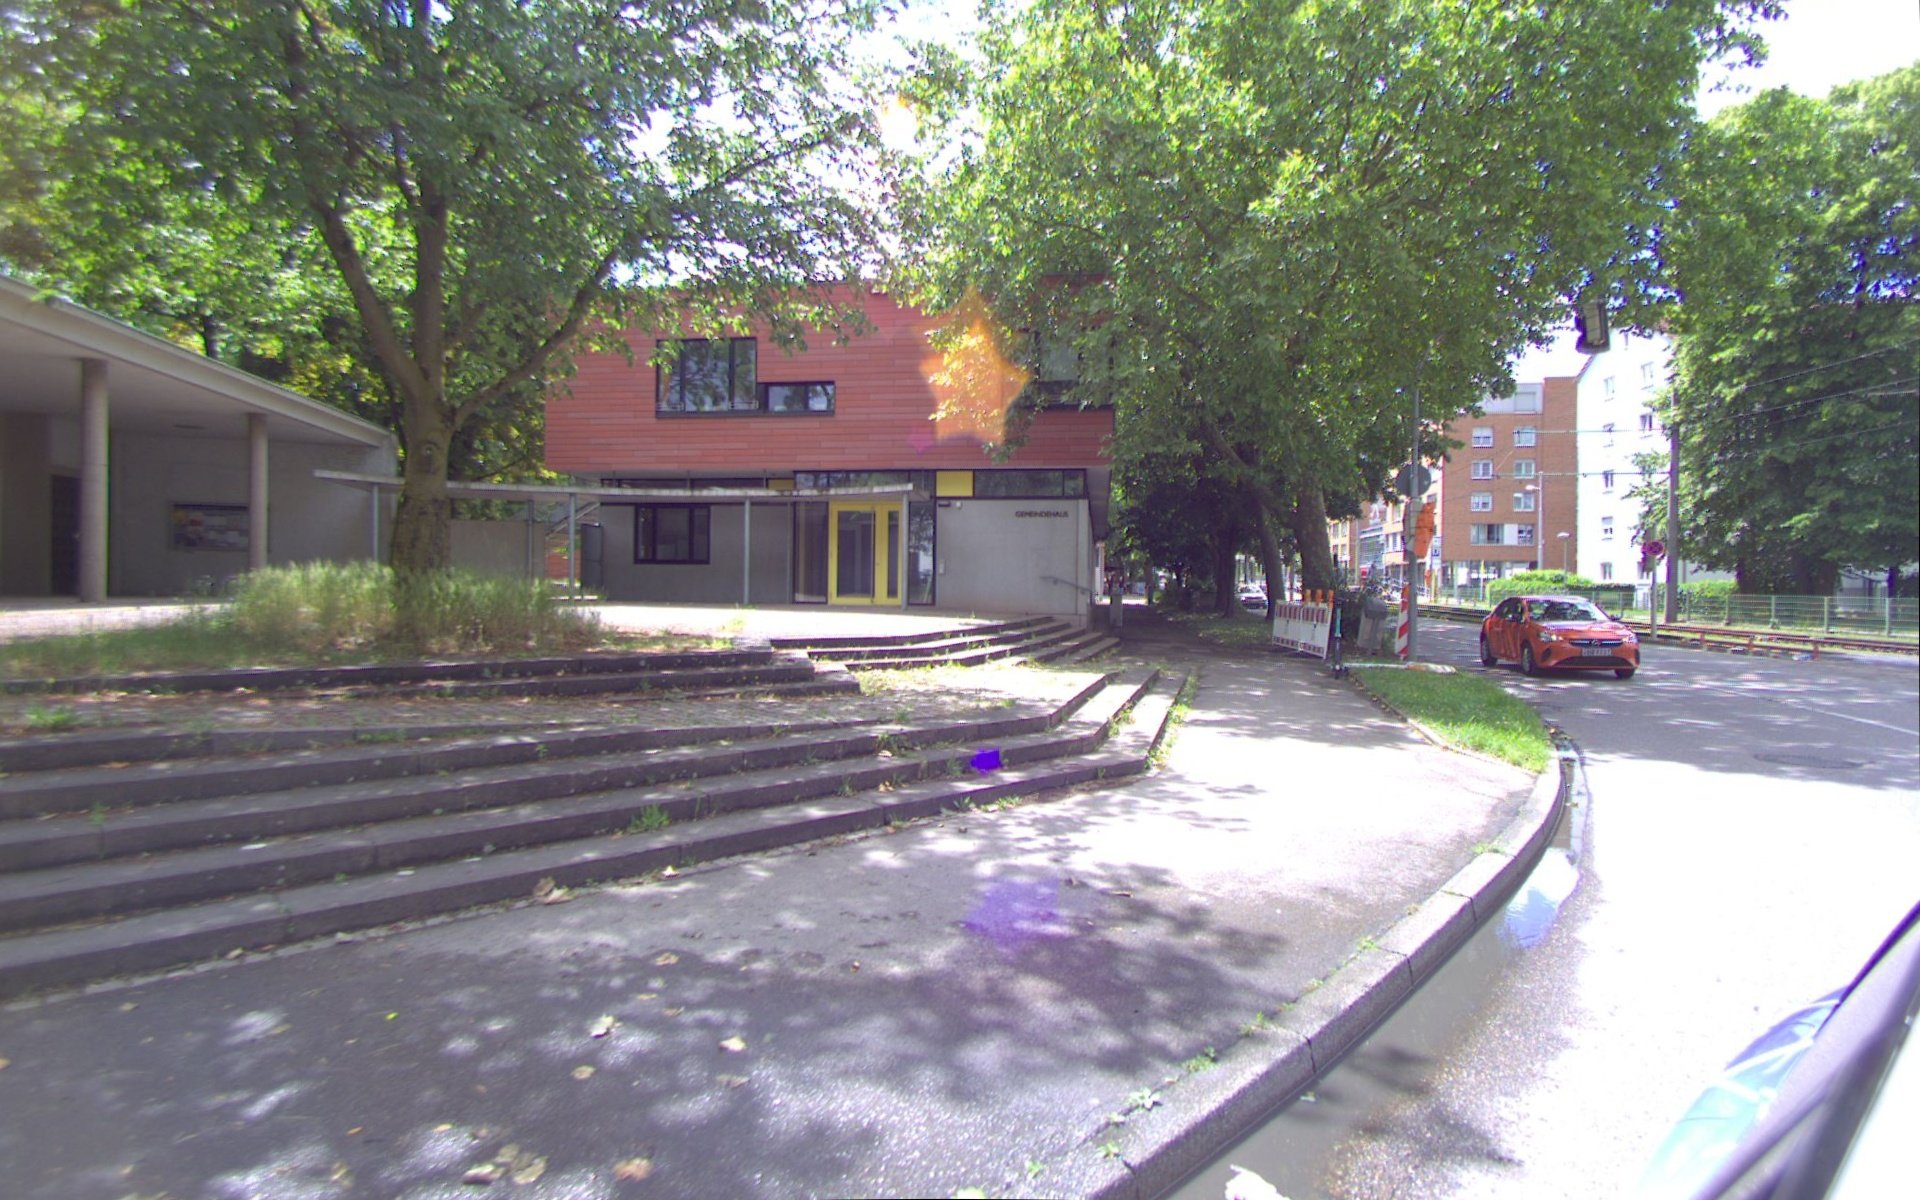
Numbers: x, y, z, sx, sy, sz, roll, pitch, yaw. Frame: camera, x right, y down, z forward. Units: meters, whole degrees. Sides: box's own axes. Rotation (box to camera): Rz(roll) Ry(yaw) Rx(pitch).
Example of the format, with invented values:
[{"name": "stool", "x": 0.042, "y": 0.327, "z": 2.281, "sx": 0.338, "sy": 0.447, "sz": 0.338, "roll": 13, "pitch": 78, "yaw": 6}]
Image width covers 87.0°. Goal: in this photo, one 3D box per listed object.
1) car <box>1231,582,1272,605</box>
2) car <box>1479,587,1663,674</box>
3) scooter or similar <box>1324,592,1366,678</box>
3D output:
[{"name": "car", "x": 17.303, "y": -0.413, "z": 60.273, "sx": 1.507, "sy": 1.336, "sz": 3.379, "roll": 1, "pitch": 1, "yaw": 1}, {"name": "car", "x": 11.236, "y": 0.514, "z": 18.913, "sx": 1.743, "sy": 1.452, "sz": 3.824, "roll": -1, "pitch": 0, "yaw": 12}, {"name": "scooter or similar", "x": 5.914, "y": 0.509, "z": 15.529, "sx": 0.559, "sy": 1.248, "sz": 1.186, "roll": 1, "pitch": 1, "yaw": 22}]
